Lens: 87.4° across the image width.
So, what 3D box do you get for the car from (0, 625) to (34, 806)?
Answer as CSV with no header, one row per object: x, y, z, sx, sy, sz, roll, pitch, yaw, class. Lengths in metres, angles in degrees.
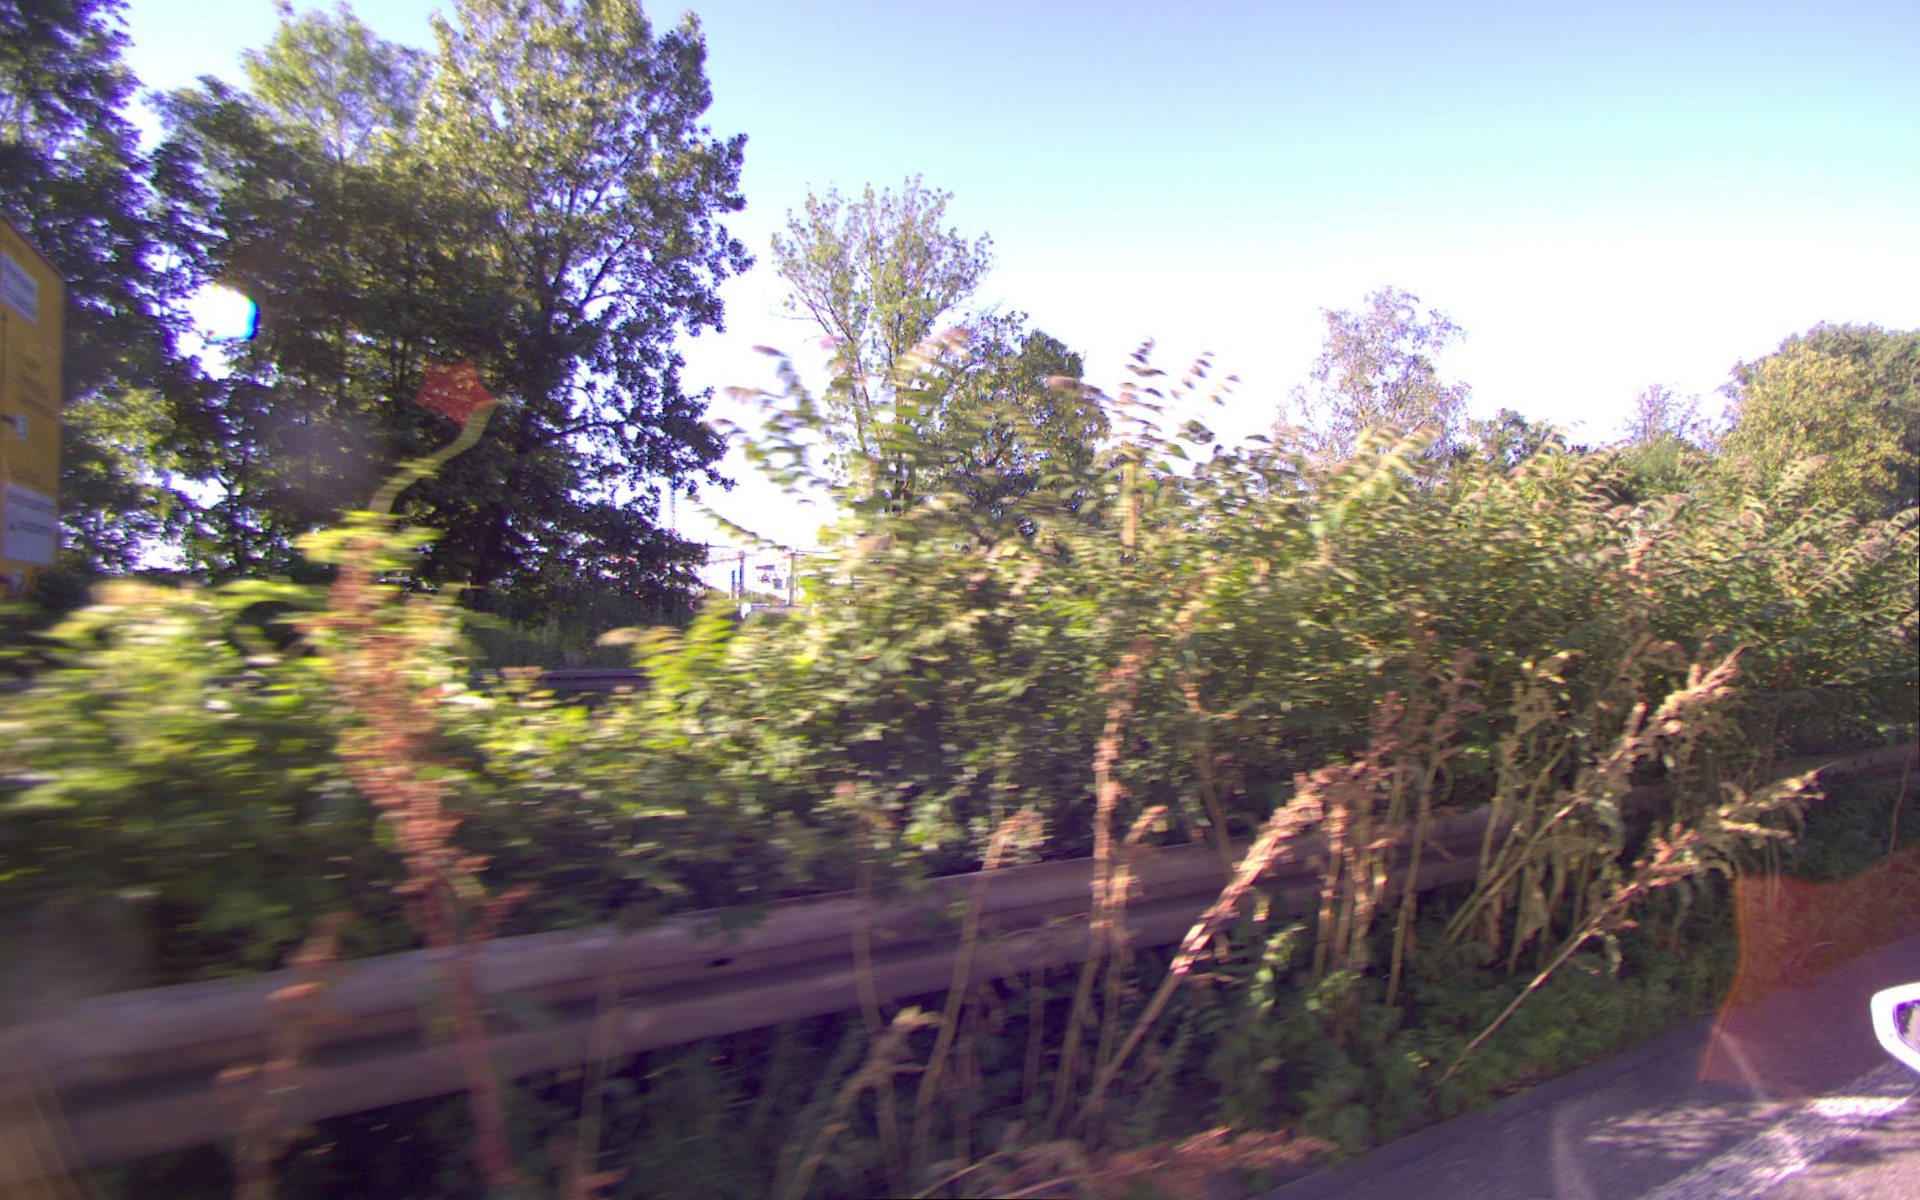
-9.669,0.908,6.963,4.457,1.469,1.950,1,-1,-33,car
